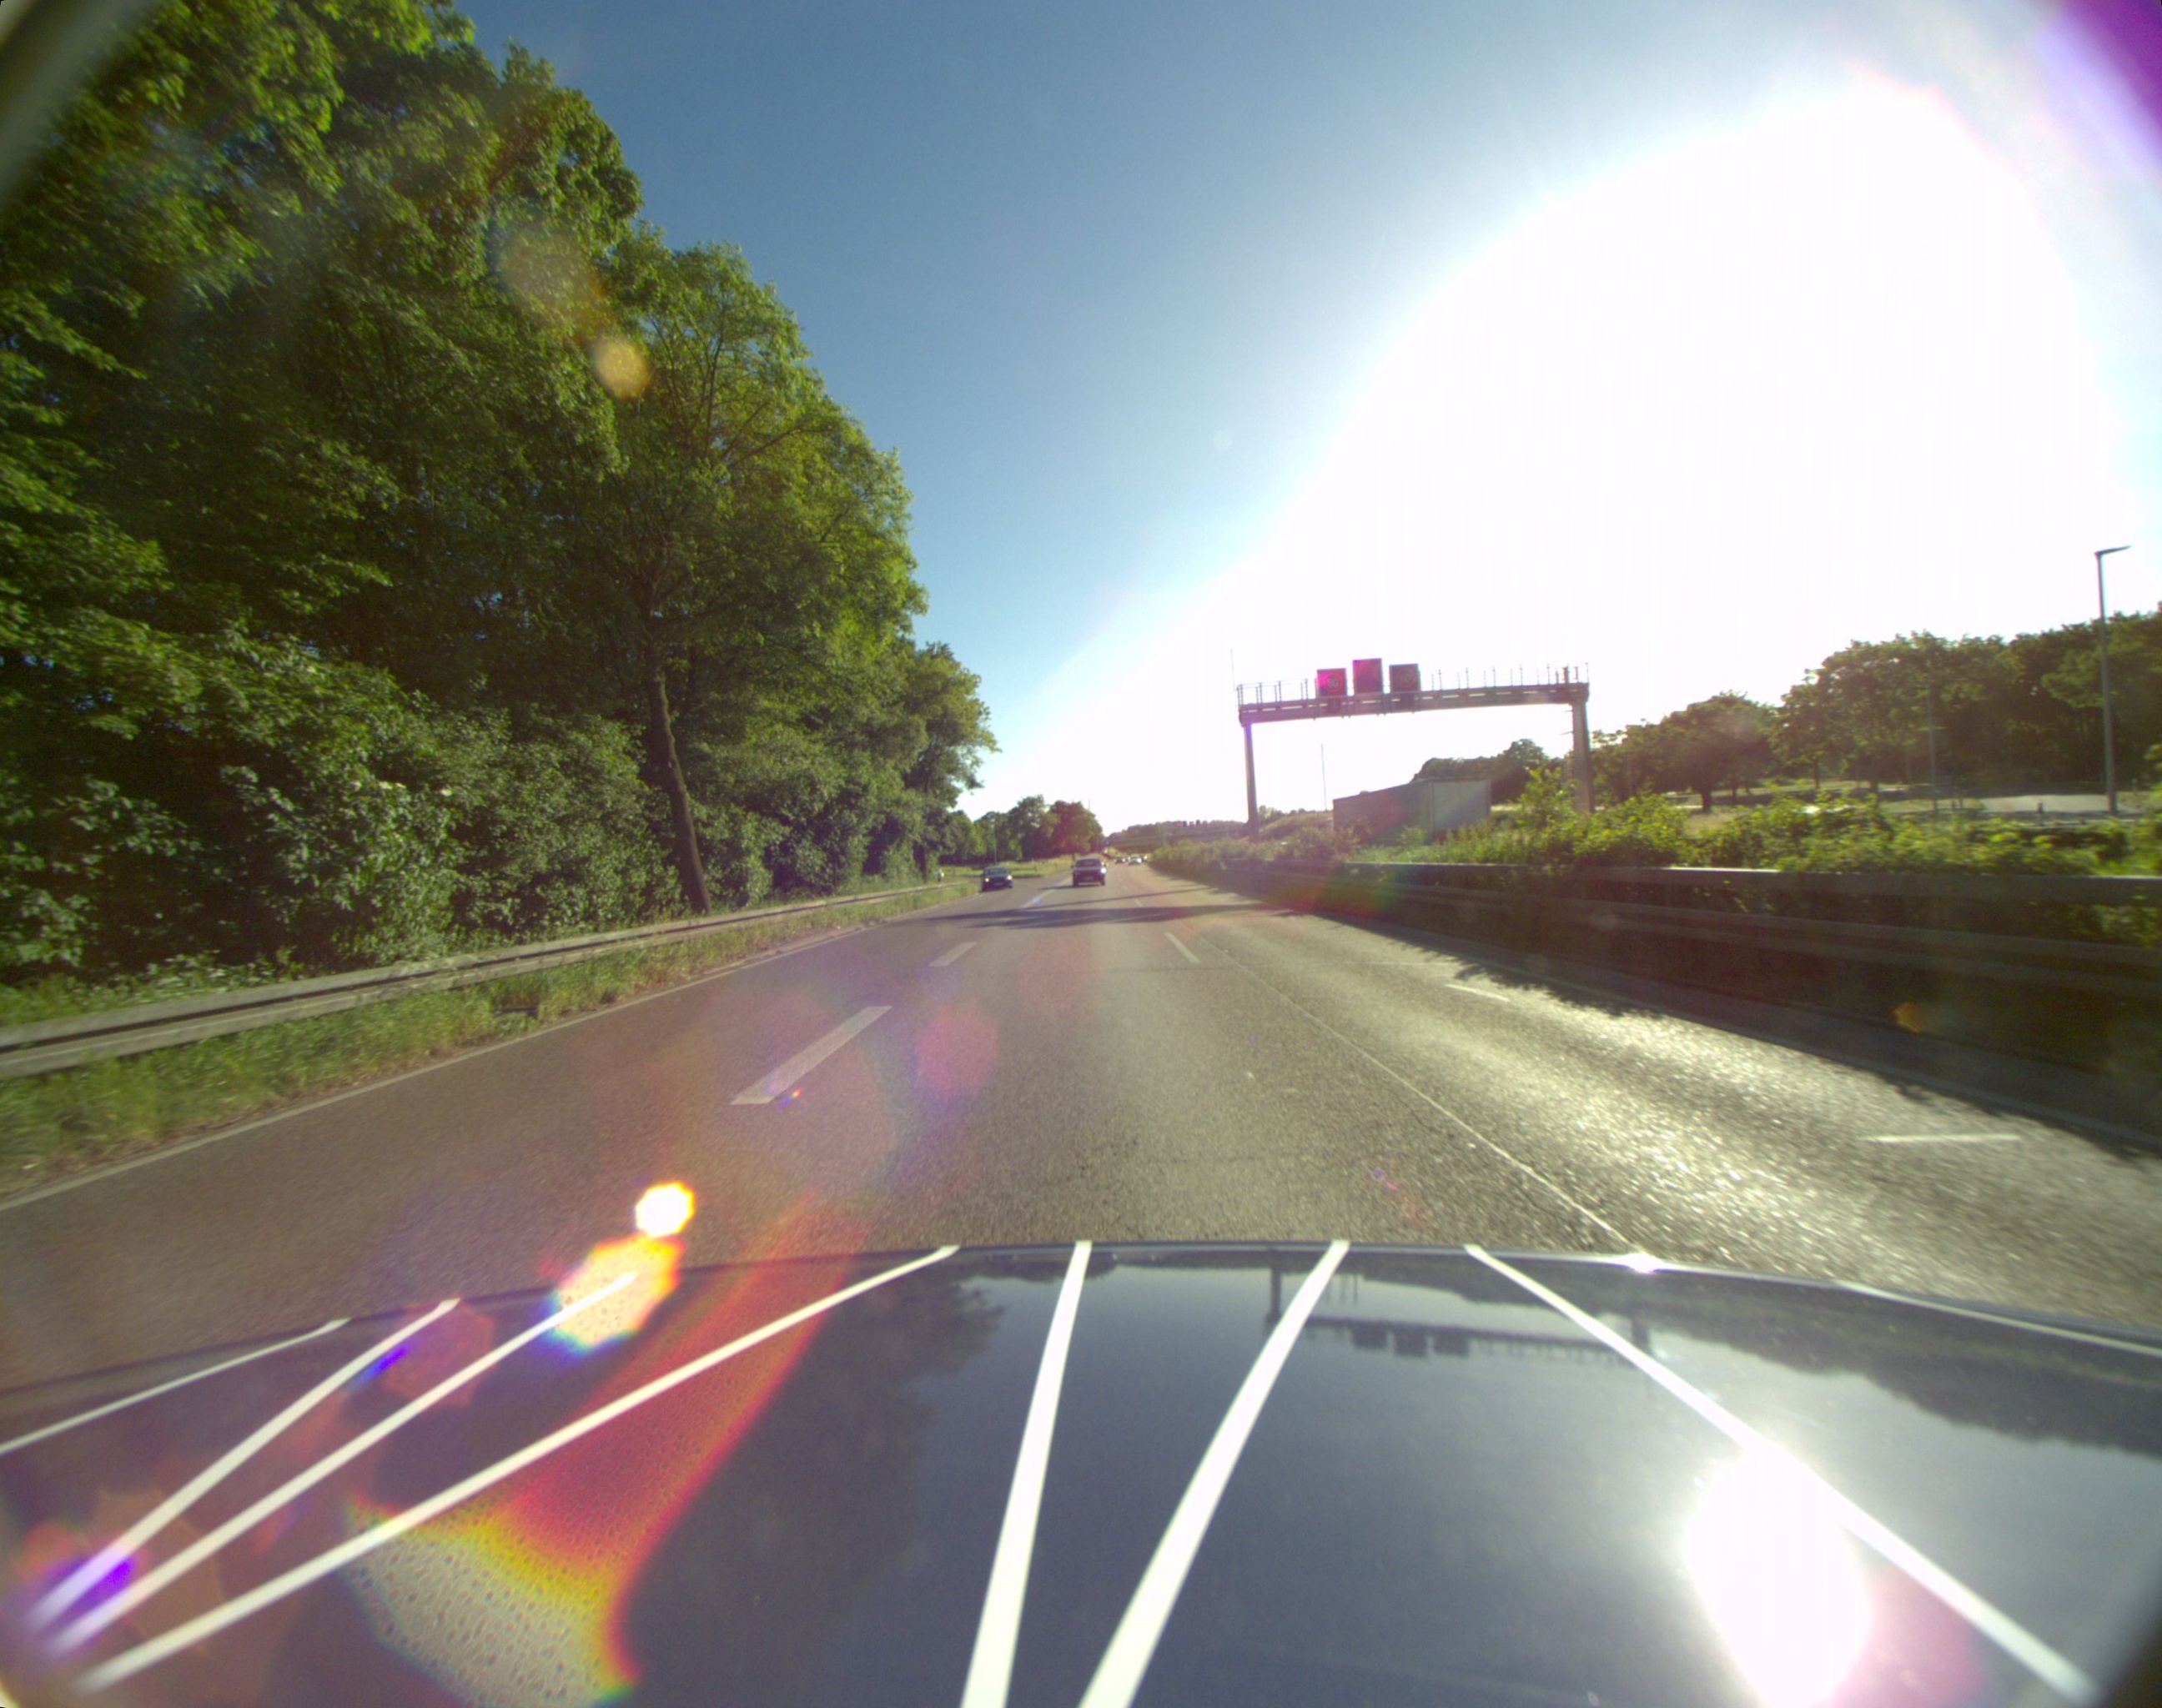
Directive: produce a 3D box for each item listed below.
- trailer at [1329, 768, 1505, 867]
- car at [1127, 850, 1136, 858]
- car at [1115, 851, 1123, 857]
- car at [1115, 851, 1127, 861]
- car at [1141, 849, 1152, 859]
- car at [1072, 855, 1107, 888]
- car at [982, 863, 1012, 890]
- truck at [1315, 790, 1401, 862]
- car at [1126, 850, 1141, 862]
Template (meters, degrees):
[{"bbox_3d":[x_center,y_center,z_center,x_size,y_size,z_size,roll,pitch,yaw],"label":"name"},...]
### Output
[{"bbox_3d":[16.163,-1.543,38.410,3.030,3.964,14.027,-2,0,2],"label":"trailer"},{"bbox_3d":[11.544,-0.075,174.001,1.998,1.739,4.374,-2,0,4],"label":"car"},{"bbox_3d":[10.864,-0.007,217.224,1.997,1.739,4.375,-2,0,8],"label":"car"},{"bbox_3d":[7.413,0.386,141.004,1.998,1.739,4.374,-2,0,4],"label":"car"},{"bbox_3d":[12.927,0.002,150.812,1.998,1.739,4.374,-2,0,4],"label":"car"},{"bbox_3d":[0.491,0.926,41.428,1.712,1.565,3.422,-5,0,2],"label":"car"},{"bbox_3d":[-5.269,1.369,47.521,1.714,1.565,3.420,-2,0,-8],"label":"car"},{"bbox_3d":[16.387,-1.593,45.420,3.011,3.890,5.901,-2,0,2],"label":"truck"},{"bbox_3d":[7.967,0.303,115.752,1.999,1.793,3.999,-2,0,0],"label":"car"}]
